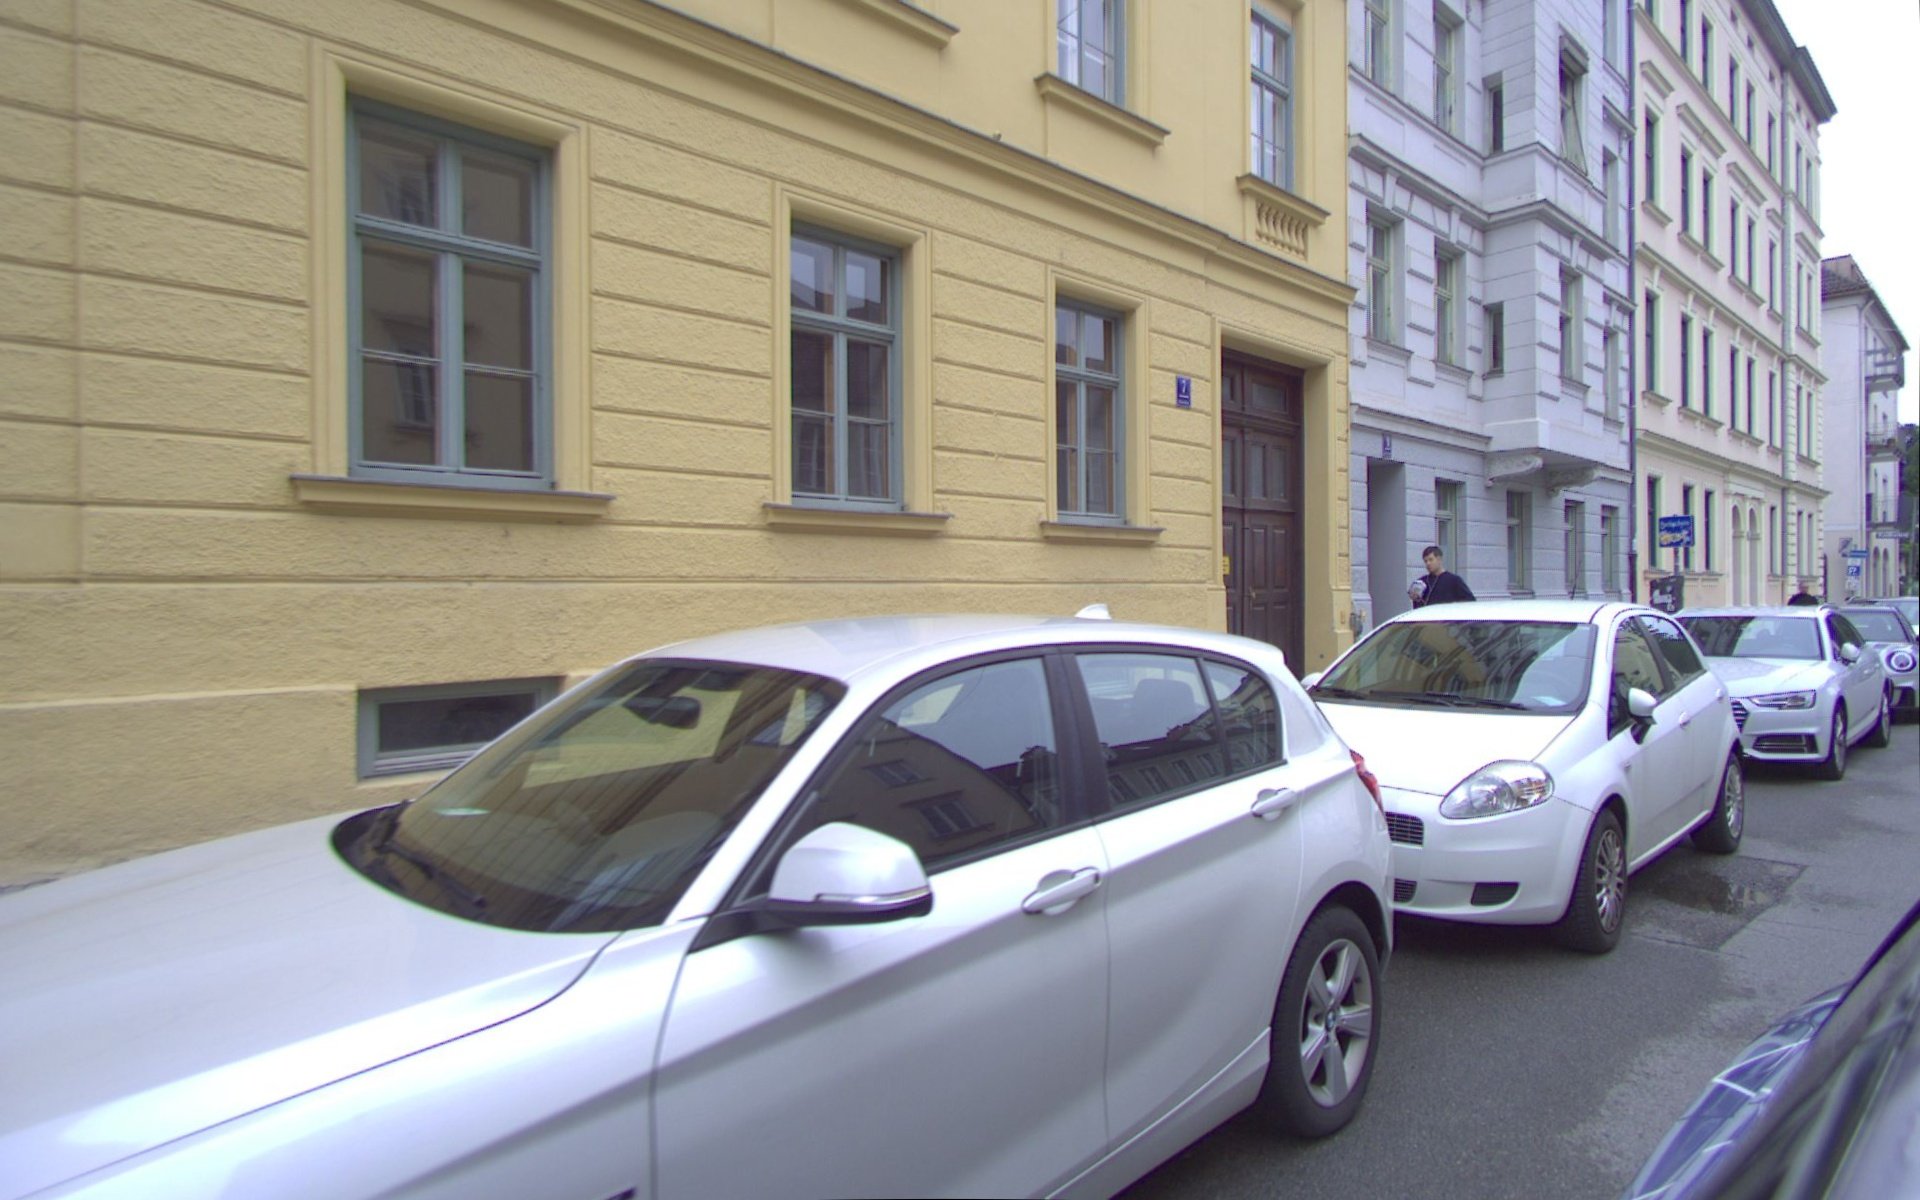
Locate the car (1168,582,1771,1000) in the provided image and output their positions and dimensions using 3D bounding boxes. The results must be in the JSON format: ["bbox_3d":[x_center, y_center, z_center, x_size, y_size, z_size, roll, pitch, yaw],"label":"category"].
[{"bbox_3d":[3.036,0.660,5.591,4.028,1.473,1.709,-1,0,-43],"label":"car"}]

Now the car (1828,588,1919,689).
[{"bbox_3d":[16.744,0.597,17.709,4.389,1.603,1.746,-1,0,-41],"label":"car"}]

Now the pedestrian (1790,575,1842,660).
[{"bbox_3d":[18.141,0.347,21.442,0.987,1.738,0.720,-2,1,-42],"label":"pedestrian"}]

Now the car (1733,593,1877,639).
[{"bbox_3d":[32.599,0.596,39.104,1.724,1.626,4.094,2,-1,-42],"label":"car"}]

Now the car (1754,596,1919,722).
[{"bbox_3d":[12.087,0.674,13.558,4.137,1.422,1.709,-1,0,-44],"label":"car"}]

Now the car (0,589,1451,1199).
[{"bbox_3d":[-0.493,0.688,2.489,4.136,1.410,1.709,-1,0,-43],"label":"car"}]

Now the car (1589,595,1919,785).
[{"bbox_3d":[7.962,0.685,9.945,4.731,1.426,1.711,-1,0,-41],"label":"car"}]

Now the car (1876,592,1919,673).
[{"bbox_3d":[20.342,0.617,20.799,4.200,1.540,1.757,-1,0,-41],"label":"car"}]

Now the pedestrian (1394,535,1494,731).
[{"bbox_3d":[5.194,0.315,10.867,0.696,2.004,0.671,-1,4,-40],"label":"pedestrian"}]
